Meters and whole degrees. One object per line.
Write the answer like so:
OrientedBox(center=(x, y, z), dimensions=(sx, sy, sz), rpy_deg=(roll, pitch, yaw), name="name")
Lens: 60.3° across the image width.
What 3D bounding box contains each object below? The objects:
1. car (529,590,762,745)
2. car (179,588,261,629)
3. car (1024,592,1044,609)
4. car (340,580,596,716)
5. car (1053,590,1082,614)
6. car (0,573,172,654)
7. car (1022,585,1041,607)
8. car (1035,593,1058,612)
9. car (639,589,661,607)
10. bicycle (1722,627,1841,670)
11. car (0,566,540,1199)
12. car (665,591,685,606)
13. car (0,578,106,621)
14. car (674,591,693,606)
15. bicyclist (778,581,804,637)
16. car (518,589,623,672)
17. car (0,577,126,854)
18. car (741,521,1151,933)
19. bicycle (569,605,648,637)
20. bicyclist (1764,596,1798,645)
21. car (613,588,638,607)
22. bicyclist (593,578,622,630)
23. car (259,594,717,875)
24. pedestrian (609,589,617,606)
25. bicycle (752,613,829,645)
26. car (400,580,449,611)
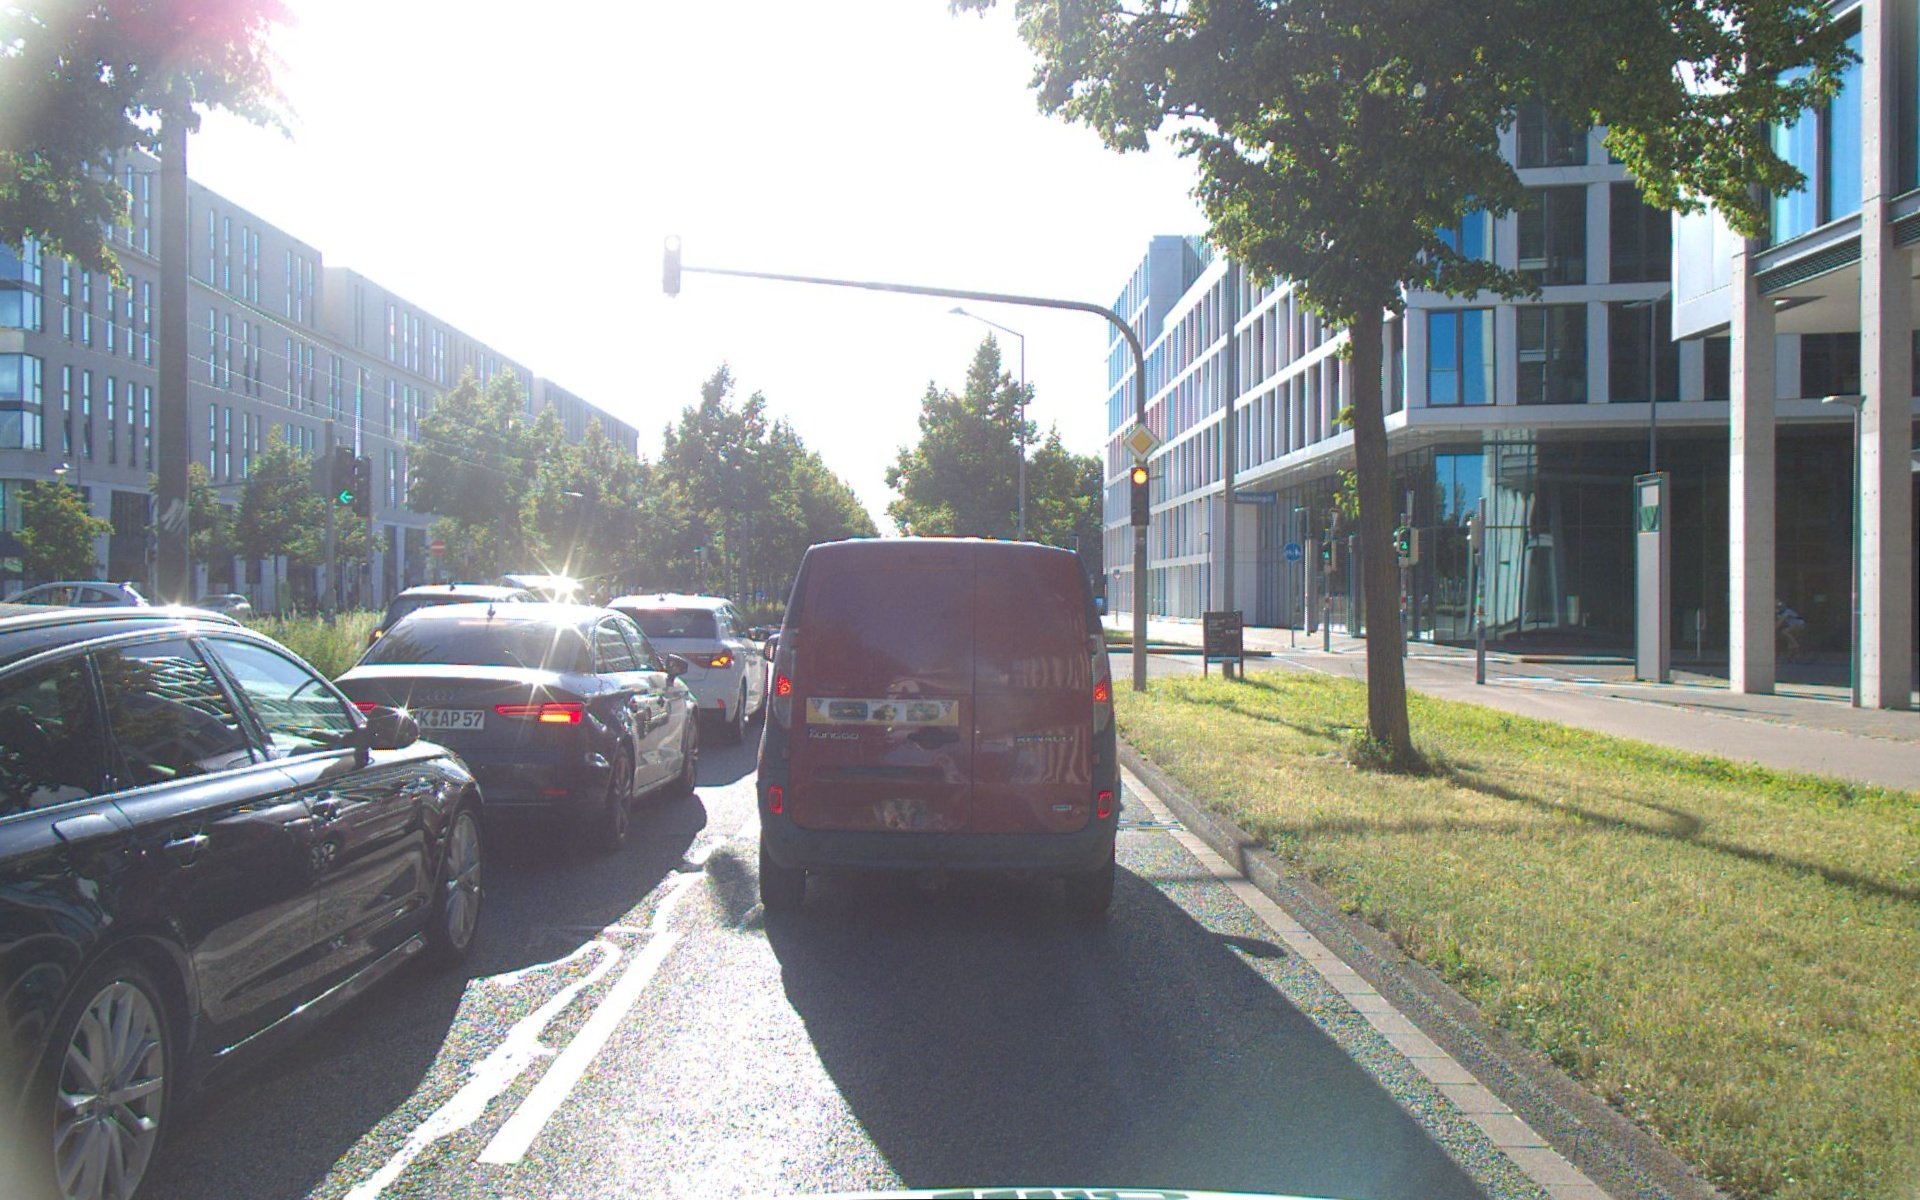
OrientedBox(center=(-3.181, 0.624, 17.478), dimensions=(1.767, 1.451, 3.900), rpy_deg=(0, 0, -1), name="car")
OrientedBox(center=(-34.747, 0.373, 77.772), dimensions=(1.953, 1.845, 4.369), rpy_deg=(0, 0, -1), name="car")
OrientedBox(center=(8.051, 0.074, 179.942), dimensions=(1.953, 1.813, 3.999), rpy_deg=(0, 0, -1), name="car")
OrientedBox(center=(-5.839, 0.508, 20.221), dimensions=(1.762, 1.473, 4.568), rpy_deg=(0, 0, 0), name="car")
OrientedBox(center=(8.320, 0.153, 128.008), dimensions=(1.953, 1.813, 3.999), rpy_deg=(0, 0, -1), name="car")
OrientedBox(center=(-19.642, 0.246, 35.597), dimensions=(4.477, 1.509, 1.798), rpy_deg=(4, 0, -15), name="car")
OrientedBox(center=(8.563, -0.508, 198.468), dimensions=(1.953, 2.540, 4.986), rpy_deg=(0, 0, -1), name="car")
OrientedBox(center=(8.409, 0.242, 160.747), dimensions=(1.953, 1.813, 3.999), rpy_deg=(0, 0, -1), name="car")
OrientedBox(center=(-37.233, -0.243, 198.660), dimensions=(1.953, 2.049, 3.999), rpy_deg=(0, 0, -1), name="car")
OrientedBox(center=(22.349, 1.306, 45.058), dimensions=(2.776, 1.134, 0.821), rpy_deg=(0, 0, 14), name="bicycle")
OrientedBox(center=(-2.771, 0.681, 5.094), dimensions=(1.836, 1.510, 4.965), rpy_deg=(0, 0, -2), name="car")
OrientedBox(center=(-37.374, -0.202, 216.675), dimensions=(1.953, 2.049, 3.999), rpy_deg=(0, 0, -1), name="car")
OrientedBox(center=(-33.198, -0.031, 60.653), dimensions=(1.729, 1.546, 3.999), rpy_deg=(0, 0, -1), name="car")
OrientedBox(center=(-37.187, -0.179, 222.302), dimensions=(1.953, 2.049, 3.999), rpy_deg=(0, 0, -1), name="car")
OrientedBox(center=(-6.543, 0.349, 63.910), dimensions=(0.921, 2.129, 0.817), rpy_deg=(0, 0, -1), name="bicyclist")
OrientedBox(center=(-7.662, 0.555, 32.259), dimensions=(1.770, 1.473, 4.548), rpy_deg=(1, 0, -16), name="car")
OrientedBox(center=(-6.004, 0.637, 8.309), dimensions=(1.483, 1.518, 4.215), rpy_deg=(0, 0, 0), name="car")
OrientedBox(center=(-0.090, 0.554, 9.312), dimensions=(1.804, 1.812, 3.999), rpy_deg=(0, 0, -1), name="car")
OrientedBox(center=(-13.594, 0.813, 63.939), dimensions=(2.882, 1.211, 0.817), rpy_deg=(0, 0, -1), name="bicycle")
OrientedBox(center=(22.359, 0.554, 45.056), dimensions=(0.666, 1.297, 0.821), rpy_deg=(0, 0, 15), name="bicyclist")
OrientedBox(center=(-36.734, -0.265, 181.853), dimensions=(1.953, 2.049, 3.999), rpy_deg=(0, 0, -1), name="car")
OrientedBox(center=(-13.622, 0.161, 63.955), dimensions=(0.978, 1.981, 0.817), rpy_deg=(0, 0, -1), name="bicyclist")
OrientedBox(center=(-2.782, 0.698, 10.817), dimensions=(1.804, 1.451, 4.338), rpy_deg=(0, 0, -1), name="car")
OrientedBox(center=(-42.190, -0.256, 201.079), dimensions=(0.789, 2.049, 0.871), rpy_deg=(0, 0, -1), name="pedestrian")
OrientedBox(center=(-6.537, 1.115, 63.898), dimensions=(2.882, 1.211, 0.817), rpy_deg=(0, 0, -1), name="bicycle")
OrientedBox(center=(-35.290, -0.310, 109.110), dimensions=(1.953, 2.049, 3.999), rpy_deg=(0, 0, -1), name="car")
